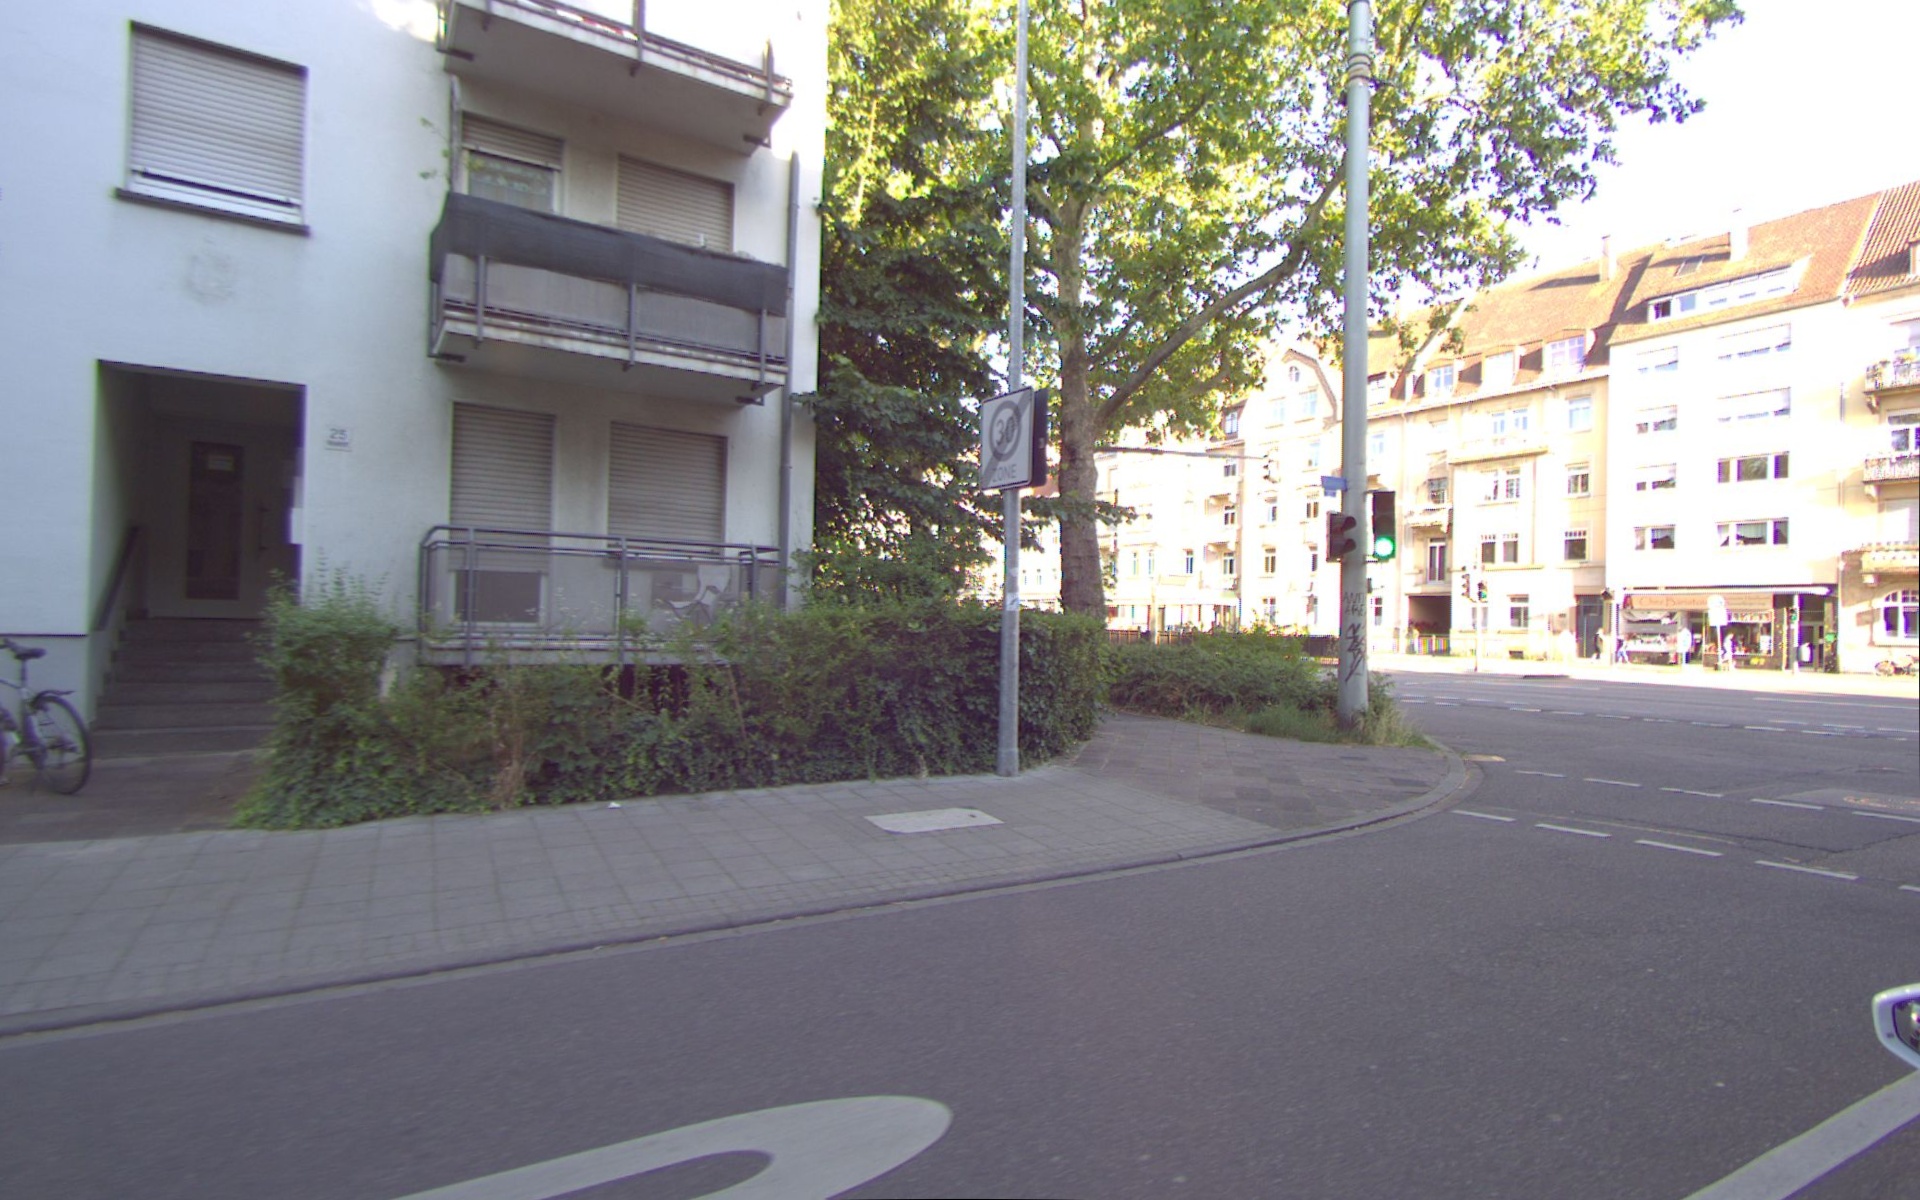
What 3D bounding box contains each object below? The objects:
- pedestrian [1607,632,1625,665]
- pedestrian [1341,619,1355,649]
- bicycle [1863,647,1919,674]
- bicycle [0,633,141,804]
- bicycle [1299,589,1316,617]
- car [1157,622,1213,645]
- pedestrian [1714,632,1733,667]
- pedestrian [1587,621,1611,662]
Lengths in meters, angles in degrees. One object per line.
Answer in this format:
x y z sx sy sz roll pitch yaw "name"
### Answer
32.383 2.401 49.586 0.463 1.584 0.559 2 0 -36 "pedestrian"
24.603 2.156 63.738 0.633 1.862 0.473 2 0 -30 "pedestrian"
38.760 2.519 41.742 0.488 1.042 1.796 1 -1 -33 "bicycle"
-6.660 0.804 7.170 1.577 1.033 0.477 3 0 20 "bicycle"
22.420 0.202 64.773 0.553 1.760 0.882 2 0 -28 "bicycle"
15.772 2.354 70.392 3.671 1.483 1.929 2 0 -37 "car"
35.321 2.303 46.463 0.463 1.584 0.559 2 0 -36 "pedestrian"
31.965 2.073 50.258 0.758 2.040 0.665 1 -1 -23 "pedestrian"
